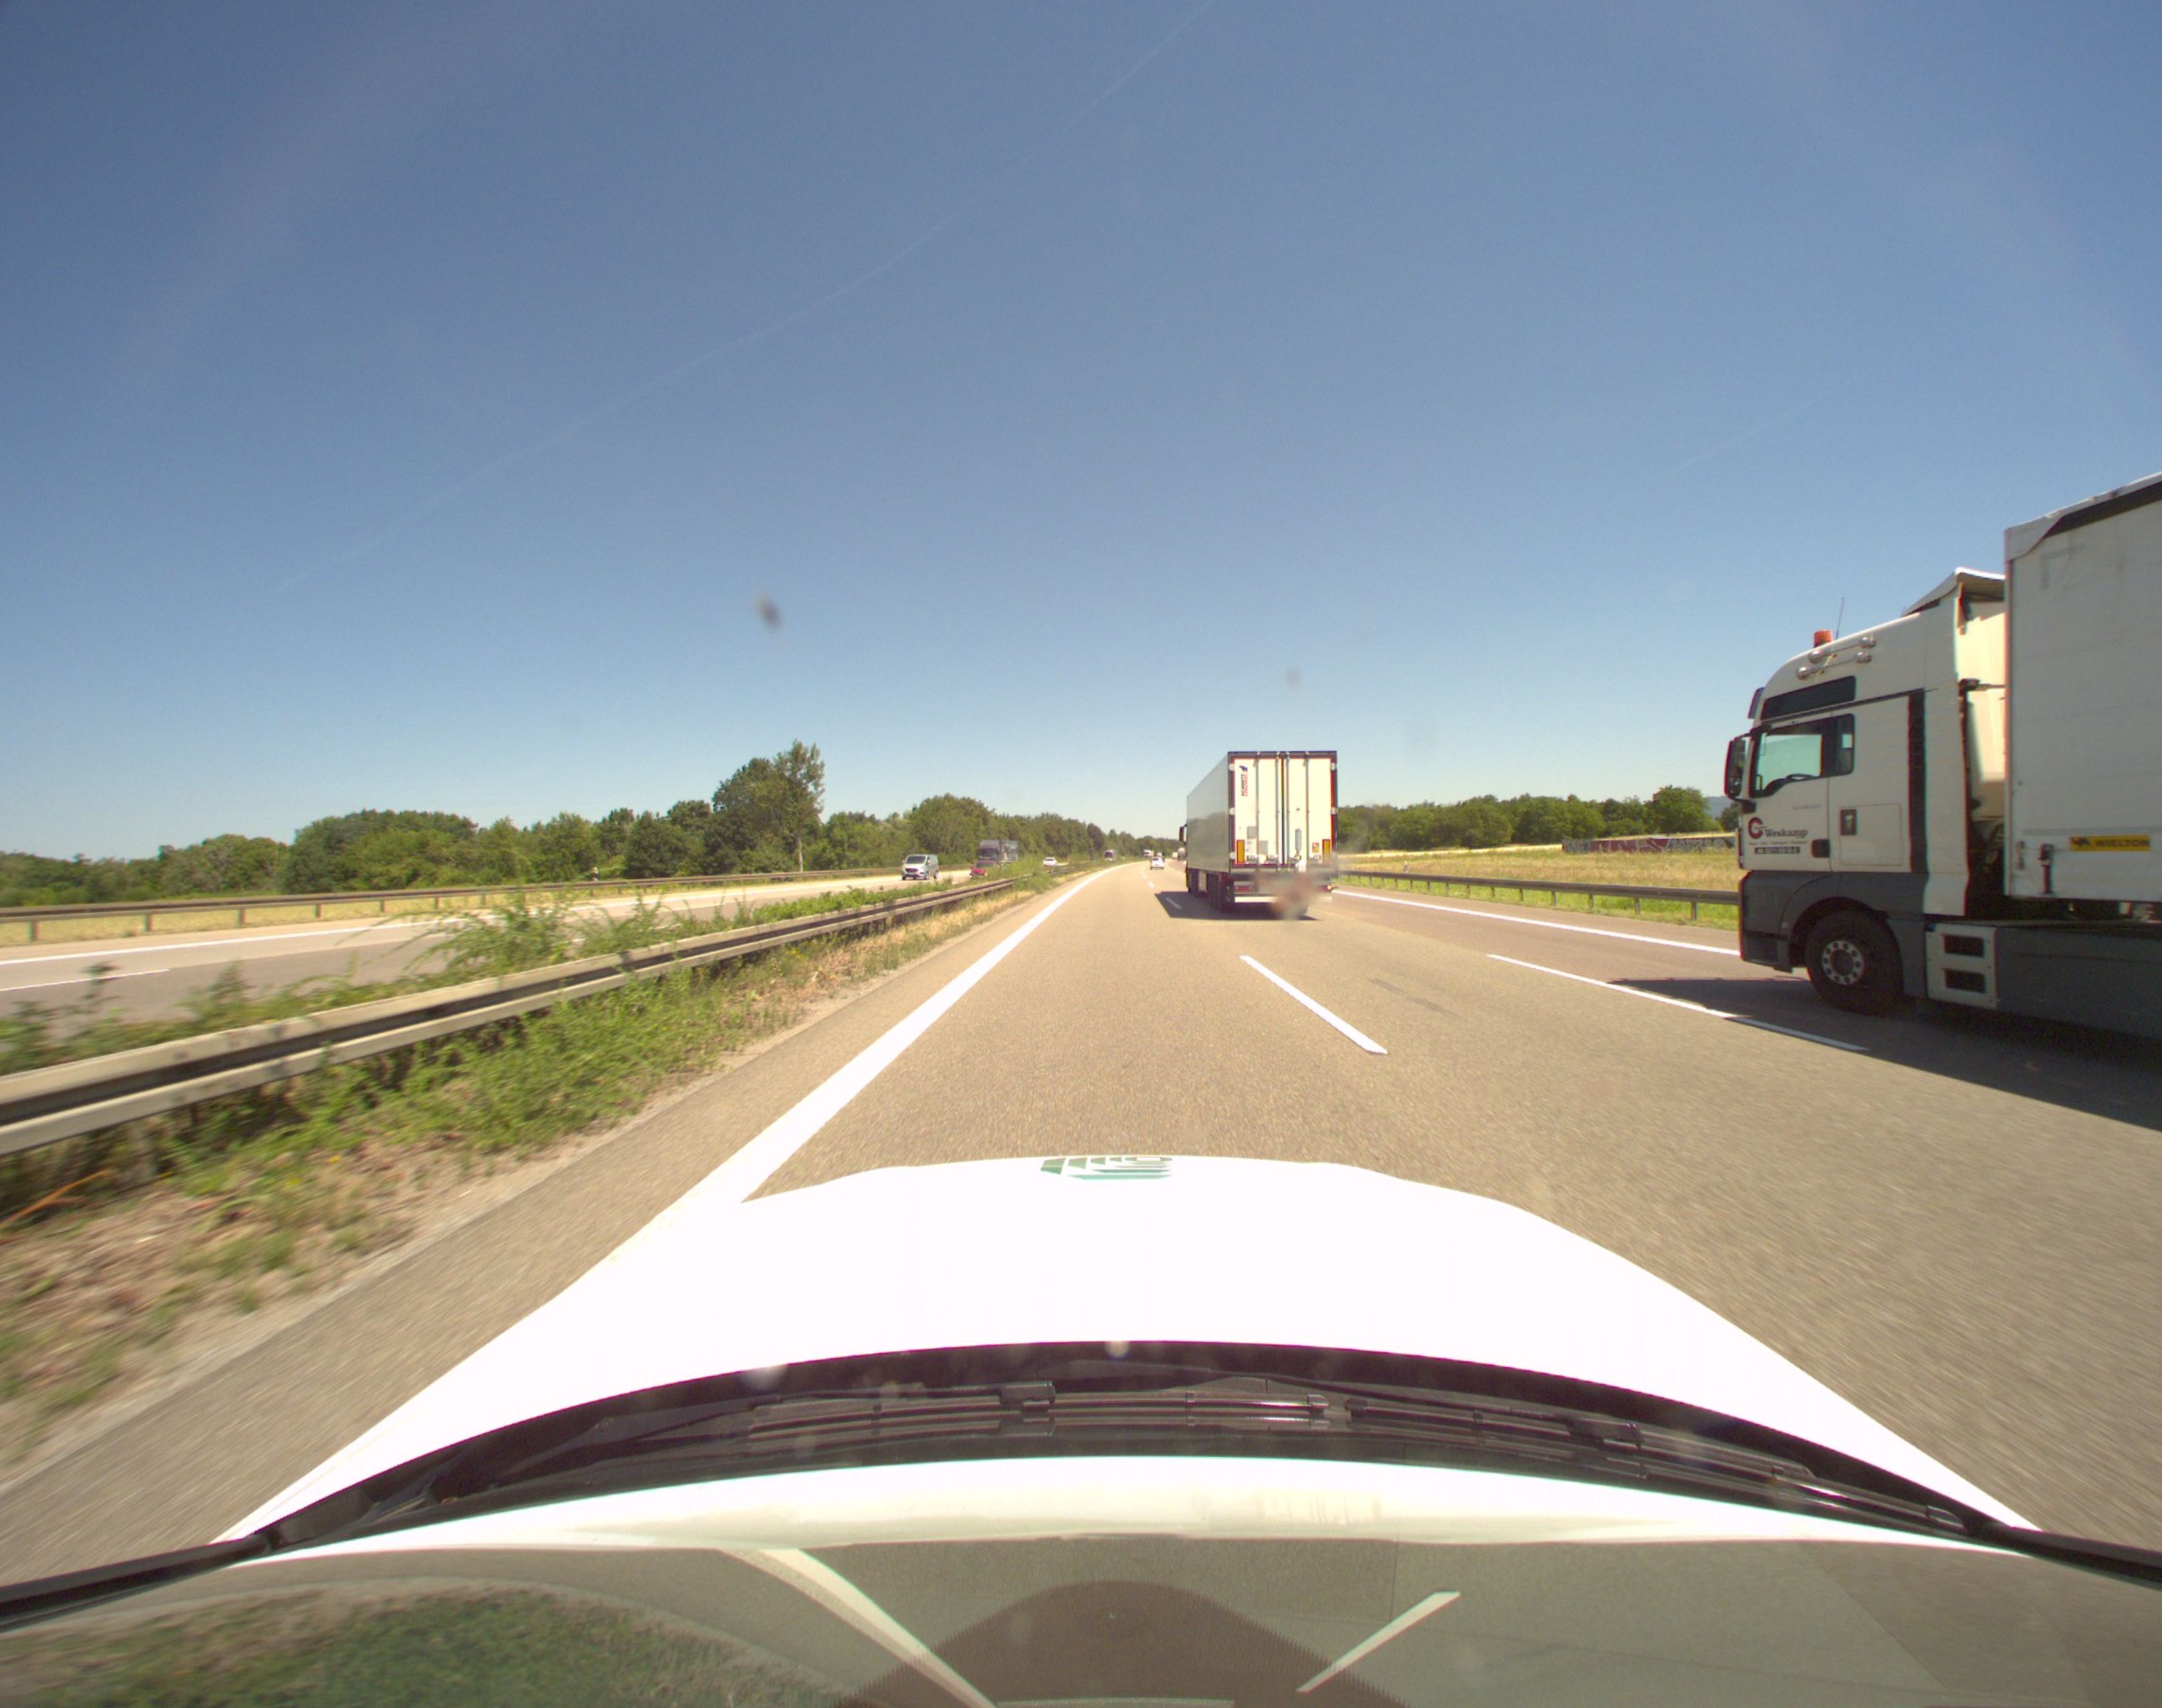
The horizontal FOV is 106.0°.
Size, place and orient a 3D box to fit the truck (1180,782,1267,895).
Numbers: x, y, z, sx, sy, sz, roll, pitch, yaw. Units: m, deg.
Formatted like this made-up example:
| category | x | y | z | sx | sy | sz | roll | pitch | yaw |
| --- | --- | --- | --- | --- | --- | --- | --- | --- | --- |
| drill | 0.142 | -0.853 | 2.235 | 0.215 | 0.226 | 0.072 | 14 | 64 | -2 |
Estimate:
| category | x | y | z | sx | sy | sz | roll | pitch | yaw |
| --- | --- | --- | --- | --- | --- | --- | --- | --- | --- |
| truck | 5.688 | -0.563 | 33.279 | 2.896 | 4.256 | 4.979 | 0 | 0 | 3 |

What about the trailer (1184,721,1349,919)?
| category | x | y | z | sx | sy | sz | roll | pitch | yaw |
| --- | --- | --- | --- | --- | --- | --- | --- | --- | --- |
| trailer | 5.278 | -0.772 | 26.287 | 2.889 | 4.657 | 13.998 | 0 | 0 | 3 |

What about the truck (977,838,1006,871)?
| category | x | y | z | sx | sy | sz | roll | pitch | yaw |
| --- | --- | --- | --- | --- | --- | --- | --- | --- | --- |
| truck | -11.197 | 0.055 | 101.946 | 2.881 | 3.916 | 4.003 | -1 | 0 | 3 |

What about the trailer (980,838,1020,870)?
| category | x | y | z | sx | sy | sz | roll | pitch | yaw |
| --- | --- | --- | --- | --- | --- | --- | --- | --- | --- |
| trailer | -10.712 | 0.058 | 109.138 | 2.867 | 3.948 | 14.072 | -1 | 0 | 4 |

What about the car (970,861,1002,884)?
| category | x | y | z | sx | sy | sz | roll | pitch | yaw |
| --- | --- | --- | --- | --- | --- | --- | --- | --- | --- |
| car | -6.550 | 1.284 | 56.582 | 1.688 | 1.492 | 4.138 | -2 | 0 | 1 |

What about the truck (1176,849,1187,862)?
| category | x | y | z | sx | sy | sz | roll | pitch | yaw |
| --- | --- | --- | --- | --- | --- | --- | --- | --- | --- |
| truck | 31.260 | 0.428 | 253.188 | 2.723 | 4.052 | 10.481 | -1 | -1 | 10 |

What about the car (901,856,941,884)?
| category | x | y | z | sx | sy | sz | roll | pitch | yaw |
| --- | --- | --- | --- | --- | --- | --- | --- | --- | --- |
| car | -12.641 | 1.229 | 64.686 | 2.051 | 2.071 | 5.409 | -2 | 0 | 1 |

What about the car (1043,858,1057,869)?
| category | x | y | z | sx | sy | sz | roll | pitch | yaw |
| --- | --- | --- | --- | --- | --- | --- | --- | --- | --- |
| car | -4.759 | 1.431 | 126.632 | 1.835 | 1.586 | 4.490 | -1 | 0 | 2 |

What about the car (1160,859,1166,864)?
| category | x | y | z | sx | sy | sz | roll | pitch | yaw |
| --- | --- | --- | --- | --- | --- | --- | --- | --- | --- |
| car | 20.873 | 1.913 | 207.390 | 1.619 | 1.479 | 4.006 | -1 | -1 | 6 |

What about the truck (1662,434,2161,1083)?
| category | x | y | z | sx | sy | sz | roll | pitch | yaw |
| --- | --- | --- | --- | --- | --- | --- | --- | --- | --- |
| truck | 8.471 | -0.620 | 7.568 | 2.591 | 4.256 | 5.091 | 0 | 0 | 2 |

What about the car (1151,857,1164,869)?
| category | x | y | z | sx | sy | sz | roll | pitch | yaw |
| --- | --- | --- | --- | --- | --- | --- | --- | --- | --- |
| car | 9.793 | 1.159 | 103.852 | 1.619 | 1.479 | 4.007 | -1 | -1 | 6 |
